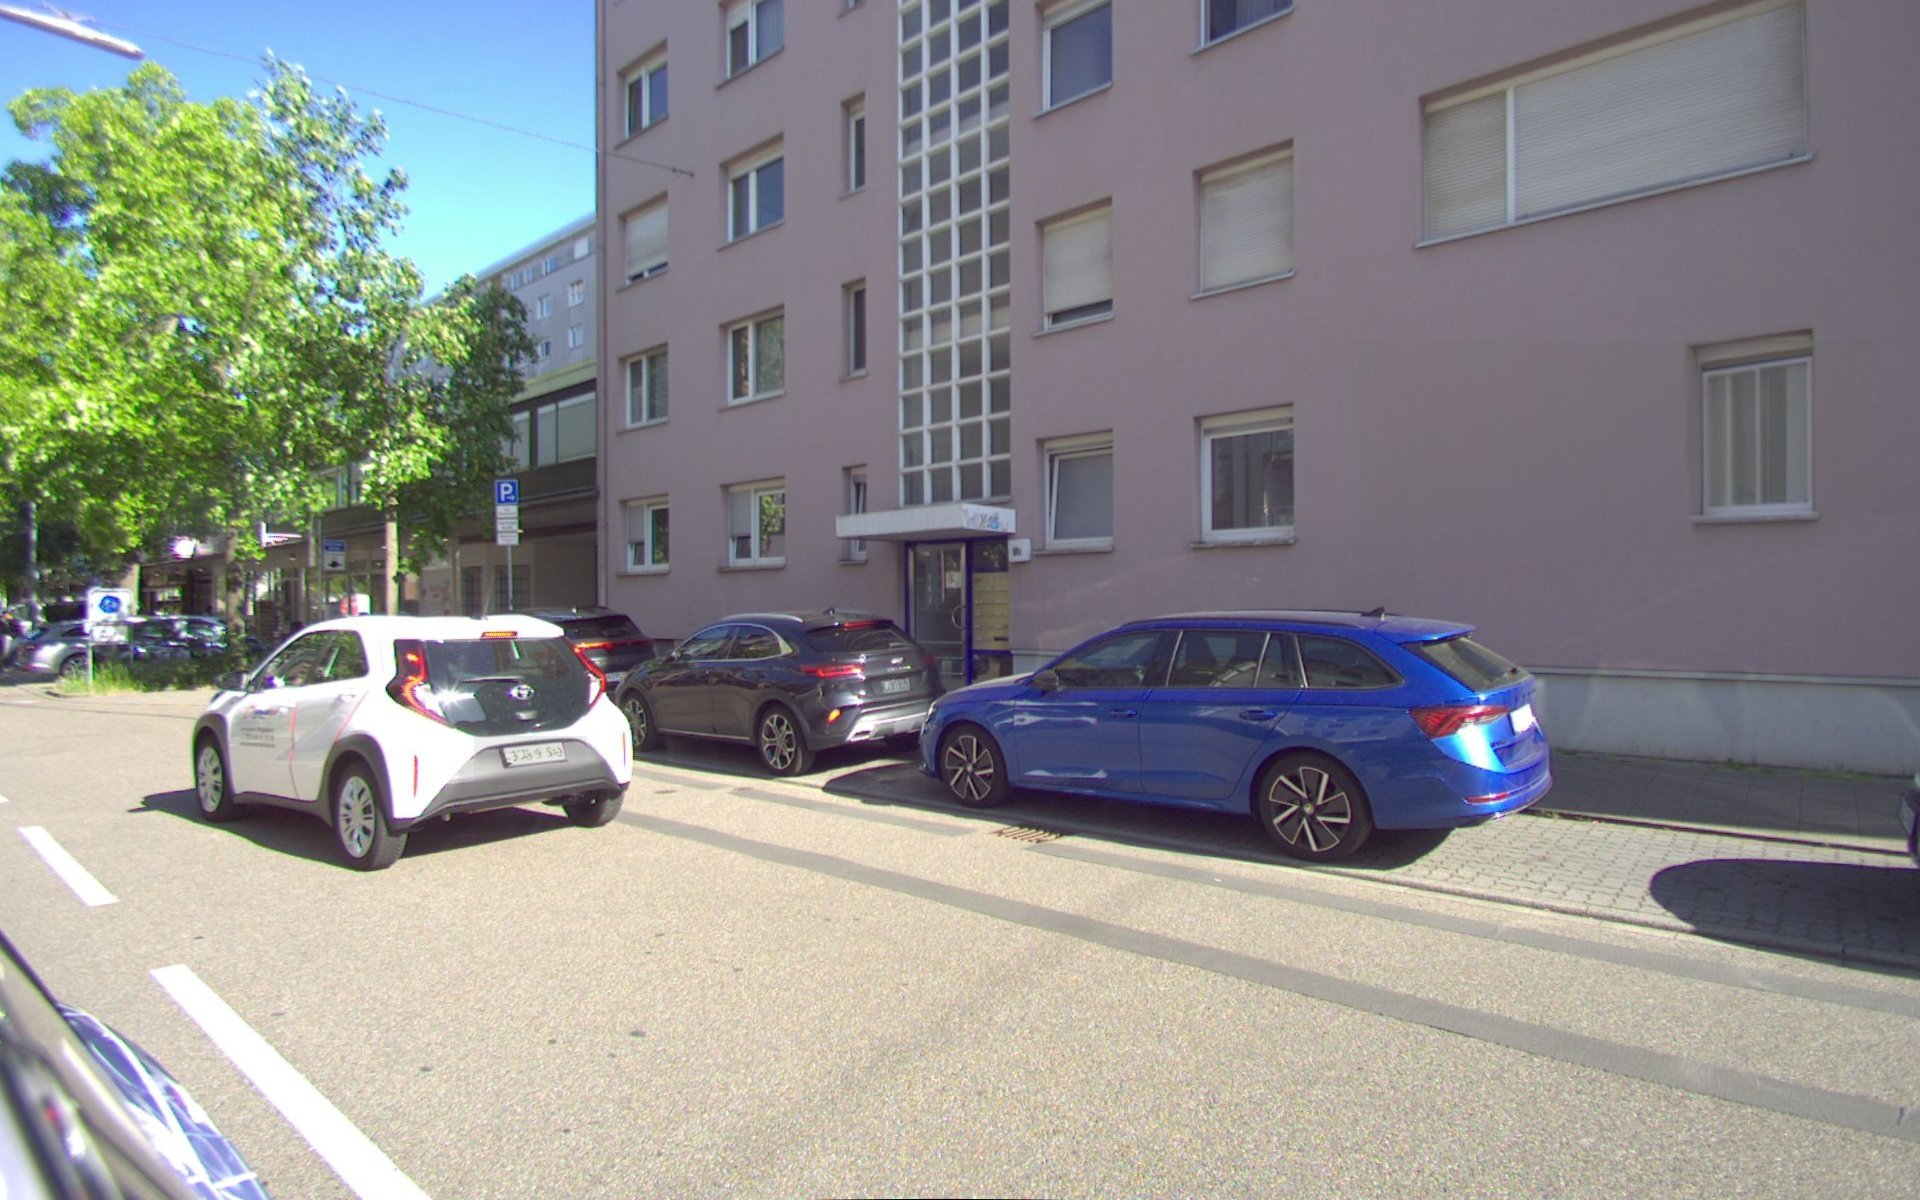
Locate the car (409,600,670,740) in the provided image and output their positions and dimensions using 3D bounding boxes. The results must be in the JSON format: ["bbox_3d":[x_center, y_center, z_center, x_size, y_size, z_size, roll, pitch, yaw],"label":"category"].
[{"bbox_3d":[-6.052,0.883,14.341,4.141,1.604,1.798,-1,2,43],"label":"car"}]

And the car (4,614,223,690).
[{"bbox_3d":[-20.970,1.216,25.180,1.999,1.687,3.945,-1,-1,41],"label":"car"}]

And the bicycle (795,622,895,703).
[{"bbox_3d":[-1.687,0.883,14.721,1.649,1.084,0.387,-1,3,42],"label":"bicycle"}]

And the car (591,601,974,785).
[{"bbox_3d":[-2.039,0.830,10.802,4.245,1.519,1.798,-1,1,43],"label":"car"}]

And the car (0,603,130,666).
[{"bbox_3d":[-31.282,1.157,34.838,1.999,2.047,3.945,-1,-1,41],"label":"car"}]

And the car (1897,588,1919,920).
[{"bbox_3d":[6.314,0.666,3.204,4.812,1.476,1.700,-1,1,41],"label":"car"}]

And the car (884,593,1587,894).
[{"bbox_3d":[1.695,0.767,7.321,4.610,1.476,1.700,-1,1,41],"label":"car"}]

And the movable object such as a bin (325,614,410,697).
[{"bbox_3d":[-11.575,1.053,19.784,1.230,1.557,1.019,0,-1,-44],"label":"movable object such as a bin"}]

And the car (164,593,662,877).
[{"bbox_3d":[-4.078,0.769,7.352,3.778,1.548,1.749,-1,-1,36],"label":"car"}]
